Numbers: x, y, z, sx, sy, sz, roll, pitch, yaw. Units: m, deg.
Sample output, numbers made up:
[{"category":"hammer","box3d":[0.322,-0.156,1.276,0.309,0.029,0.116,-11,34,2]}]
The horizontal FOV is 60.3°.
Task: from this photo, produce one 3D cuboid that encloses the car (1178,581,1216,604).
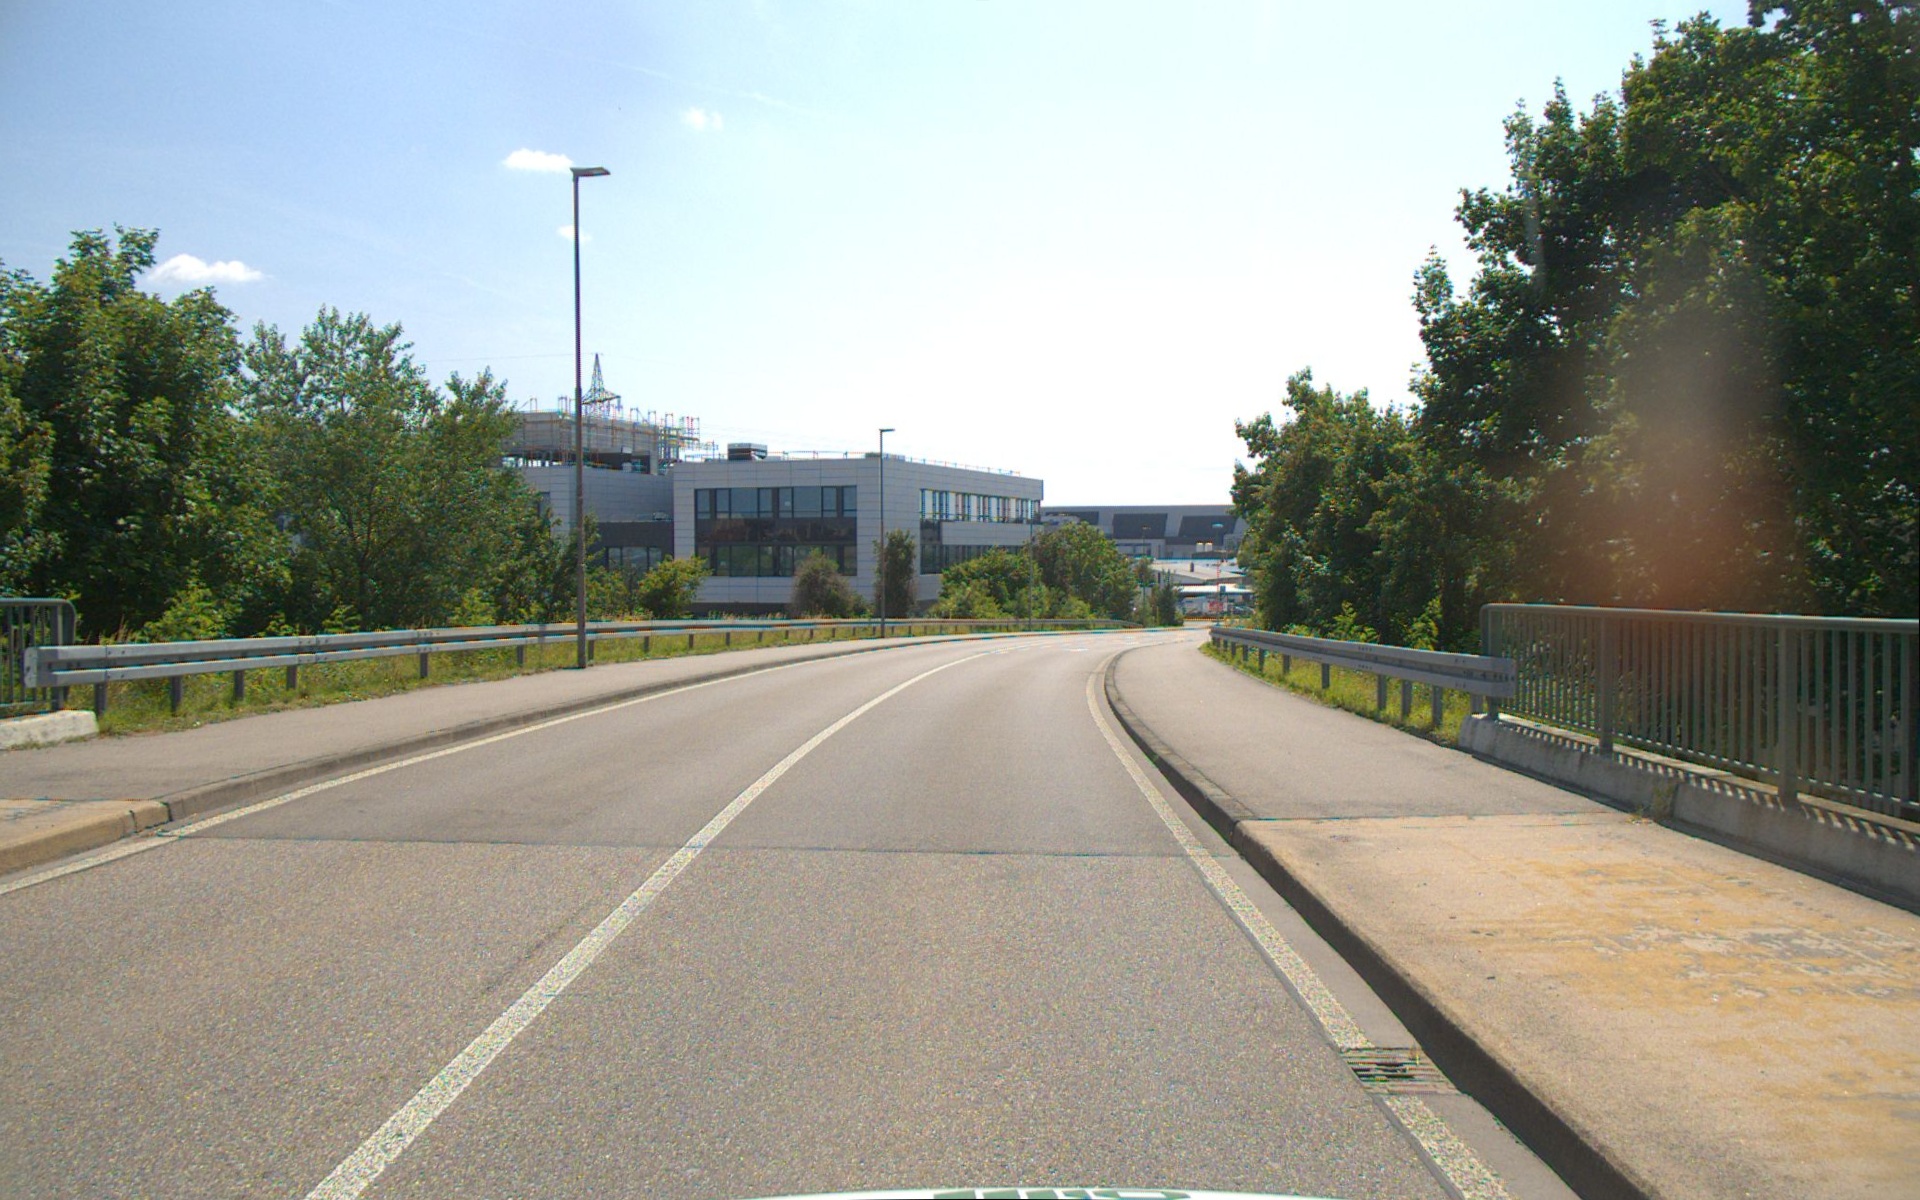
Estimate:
[{"category":"car","box3d":[28.180,-0.892,196.694,1.982,2.654,4.301,1,0,-41]}]
